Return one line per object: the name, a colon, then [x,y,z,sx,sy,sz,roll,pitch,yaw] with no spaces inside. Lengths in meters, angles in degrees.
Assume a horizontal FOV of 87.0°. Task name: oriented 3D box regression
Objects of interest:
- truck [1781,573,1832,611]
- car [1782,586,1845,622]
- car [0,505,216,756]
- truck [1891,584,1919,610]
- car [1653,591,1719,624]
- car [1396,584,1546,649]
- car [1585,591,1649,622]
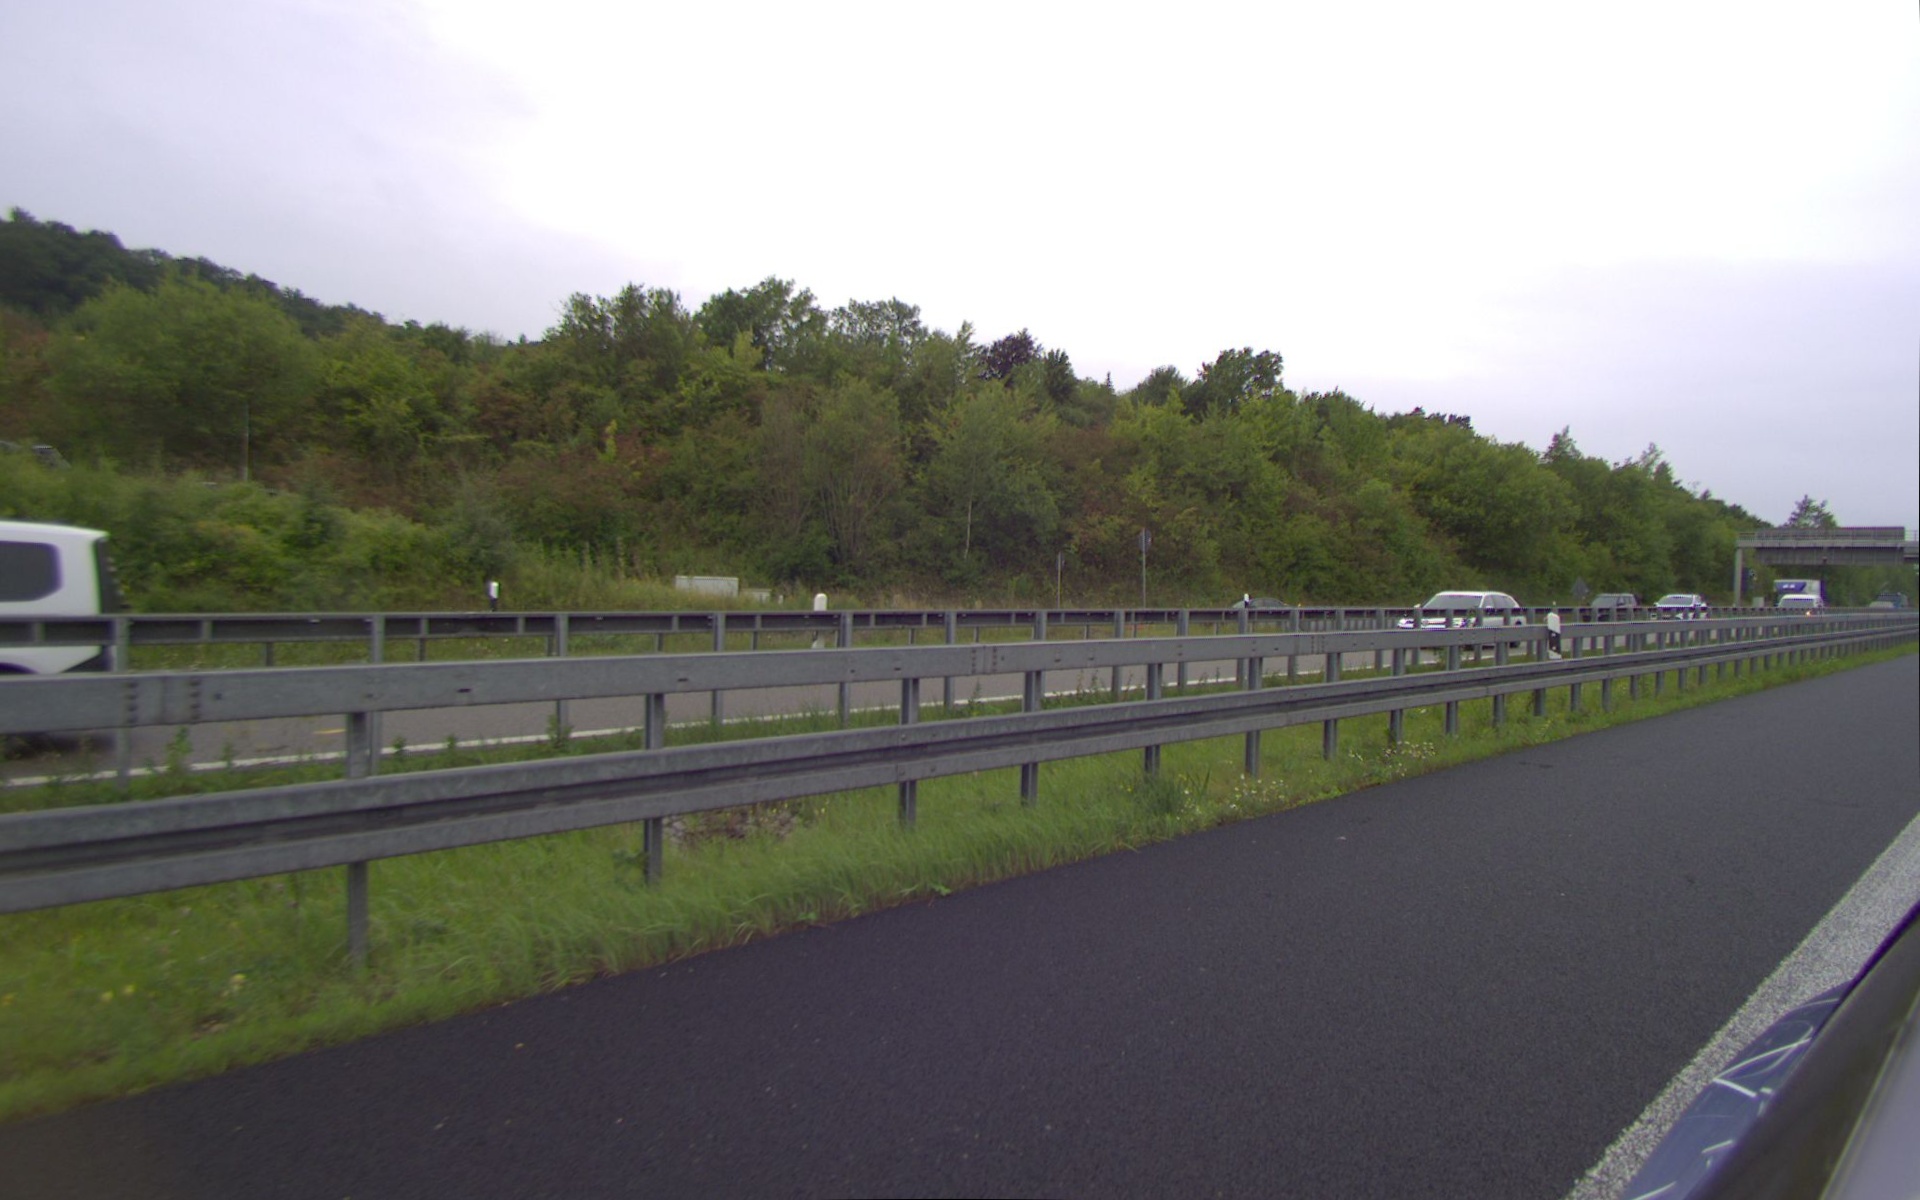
truck: [80.793,-0.744,96.565,9.131,3.460,2.903,0,1,-45]
car: [46.589,0.183,55.214,4.202,1.837,2.011,0,1,-41]
car: [-8.362,0.210,7.403,4.568,1.828,1.862,0,1,-42]
truck: [133.184,-0.438,140.984,13.108,3.460,2.909,0,1,-38]
car: [37.397,0.349,52.066,4.074,1.633,1.899,0,1,-41]
car: [13.481,0.375,26.583,4.615,1.567,2.011,0,1,-42]
car: [39.360,0.343,60.597,4.560,1.757,1.997,0,1,-41]
